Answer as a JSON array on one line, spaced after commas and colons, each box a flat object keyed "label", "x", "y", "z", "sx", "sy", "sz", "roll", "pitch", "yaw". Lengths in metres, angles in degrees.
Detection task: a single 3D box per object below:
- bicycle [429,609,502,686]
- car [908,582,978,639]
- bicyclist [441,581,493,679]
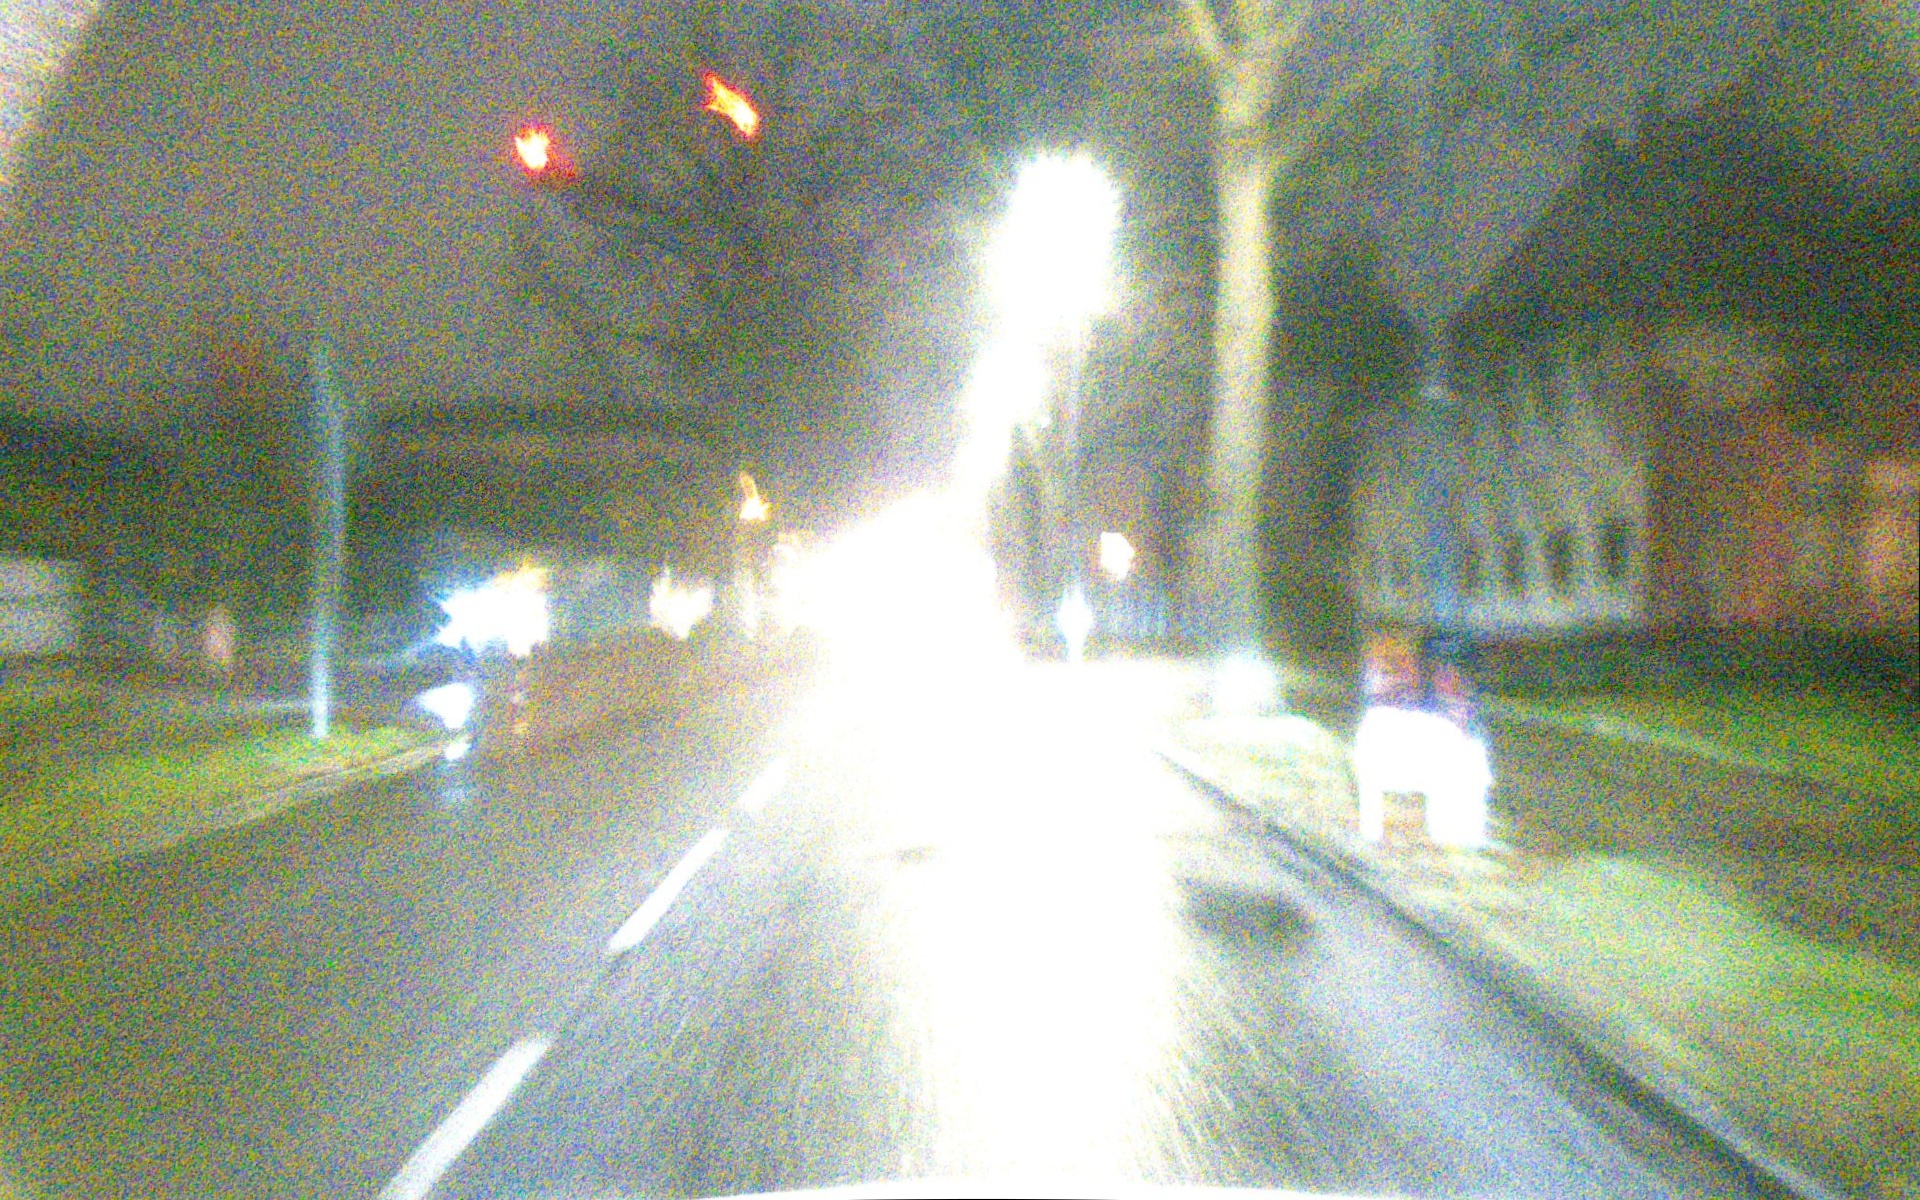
[{"label": "bicycle", "x": -8.586, "y": 0.809, "z": 28.791, "sx": 0.617, "sy": 1.181, "sz": 2.313, "roll": 1, "pitch": 2, "yaw": -2}, {"label": "car", "x": -0.577, "y": 0.299, "z": 52.035, "sx": 1.954, "sy": 1.713, "sz": 3.997, "roll": 1, "pitch": 0, "yaw": -4}, {"label": "bicyclist", "x": -8.535, "y": 0.503, "z": 28.656, "sx": 0.623, "sy": 1.622, "sz": 0.960, "roll": 1, "pitch": 2, "yaw": -2}]
